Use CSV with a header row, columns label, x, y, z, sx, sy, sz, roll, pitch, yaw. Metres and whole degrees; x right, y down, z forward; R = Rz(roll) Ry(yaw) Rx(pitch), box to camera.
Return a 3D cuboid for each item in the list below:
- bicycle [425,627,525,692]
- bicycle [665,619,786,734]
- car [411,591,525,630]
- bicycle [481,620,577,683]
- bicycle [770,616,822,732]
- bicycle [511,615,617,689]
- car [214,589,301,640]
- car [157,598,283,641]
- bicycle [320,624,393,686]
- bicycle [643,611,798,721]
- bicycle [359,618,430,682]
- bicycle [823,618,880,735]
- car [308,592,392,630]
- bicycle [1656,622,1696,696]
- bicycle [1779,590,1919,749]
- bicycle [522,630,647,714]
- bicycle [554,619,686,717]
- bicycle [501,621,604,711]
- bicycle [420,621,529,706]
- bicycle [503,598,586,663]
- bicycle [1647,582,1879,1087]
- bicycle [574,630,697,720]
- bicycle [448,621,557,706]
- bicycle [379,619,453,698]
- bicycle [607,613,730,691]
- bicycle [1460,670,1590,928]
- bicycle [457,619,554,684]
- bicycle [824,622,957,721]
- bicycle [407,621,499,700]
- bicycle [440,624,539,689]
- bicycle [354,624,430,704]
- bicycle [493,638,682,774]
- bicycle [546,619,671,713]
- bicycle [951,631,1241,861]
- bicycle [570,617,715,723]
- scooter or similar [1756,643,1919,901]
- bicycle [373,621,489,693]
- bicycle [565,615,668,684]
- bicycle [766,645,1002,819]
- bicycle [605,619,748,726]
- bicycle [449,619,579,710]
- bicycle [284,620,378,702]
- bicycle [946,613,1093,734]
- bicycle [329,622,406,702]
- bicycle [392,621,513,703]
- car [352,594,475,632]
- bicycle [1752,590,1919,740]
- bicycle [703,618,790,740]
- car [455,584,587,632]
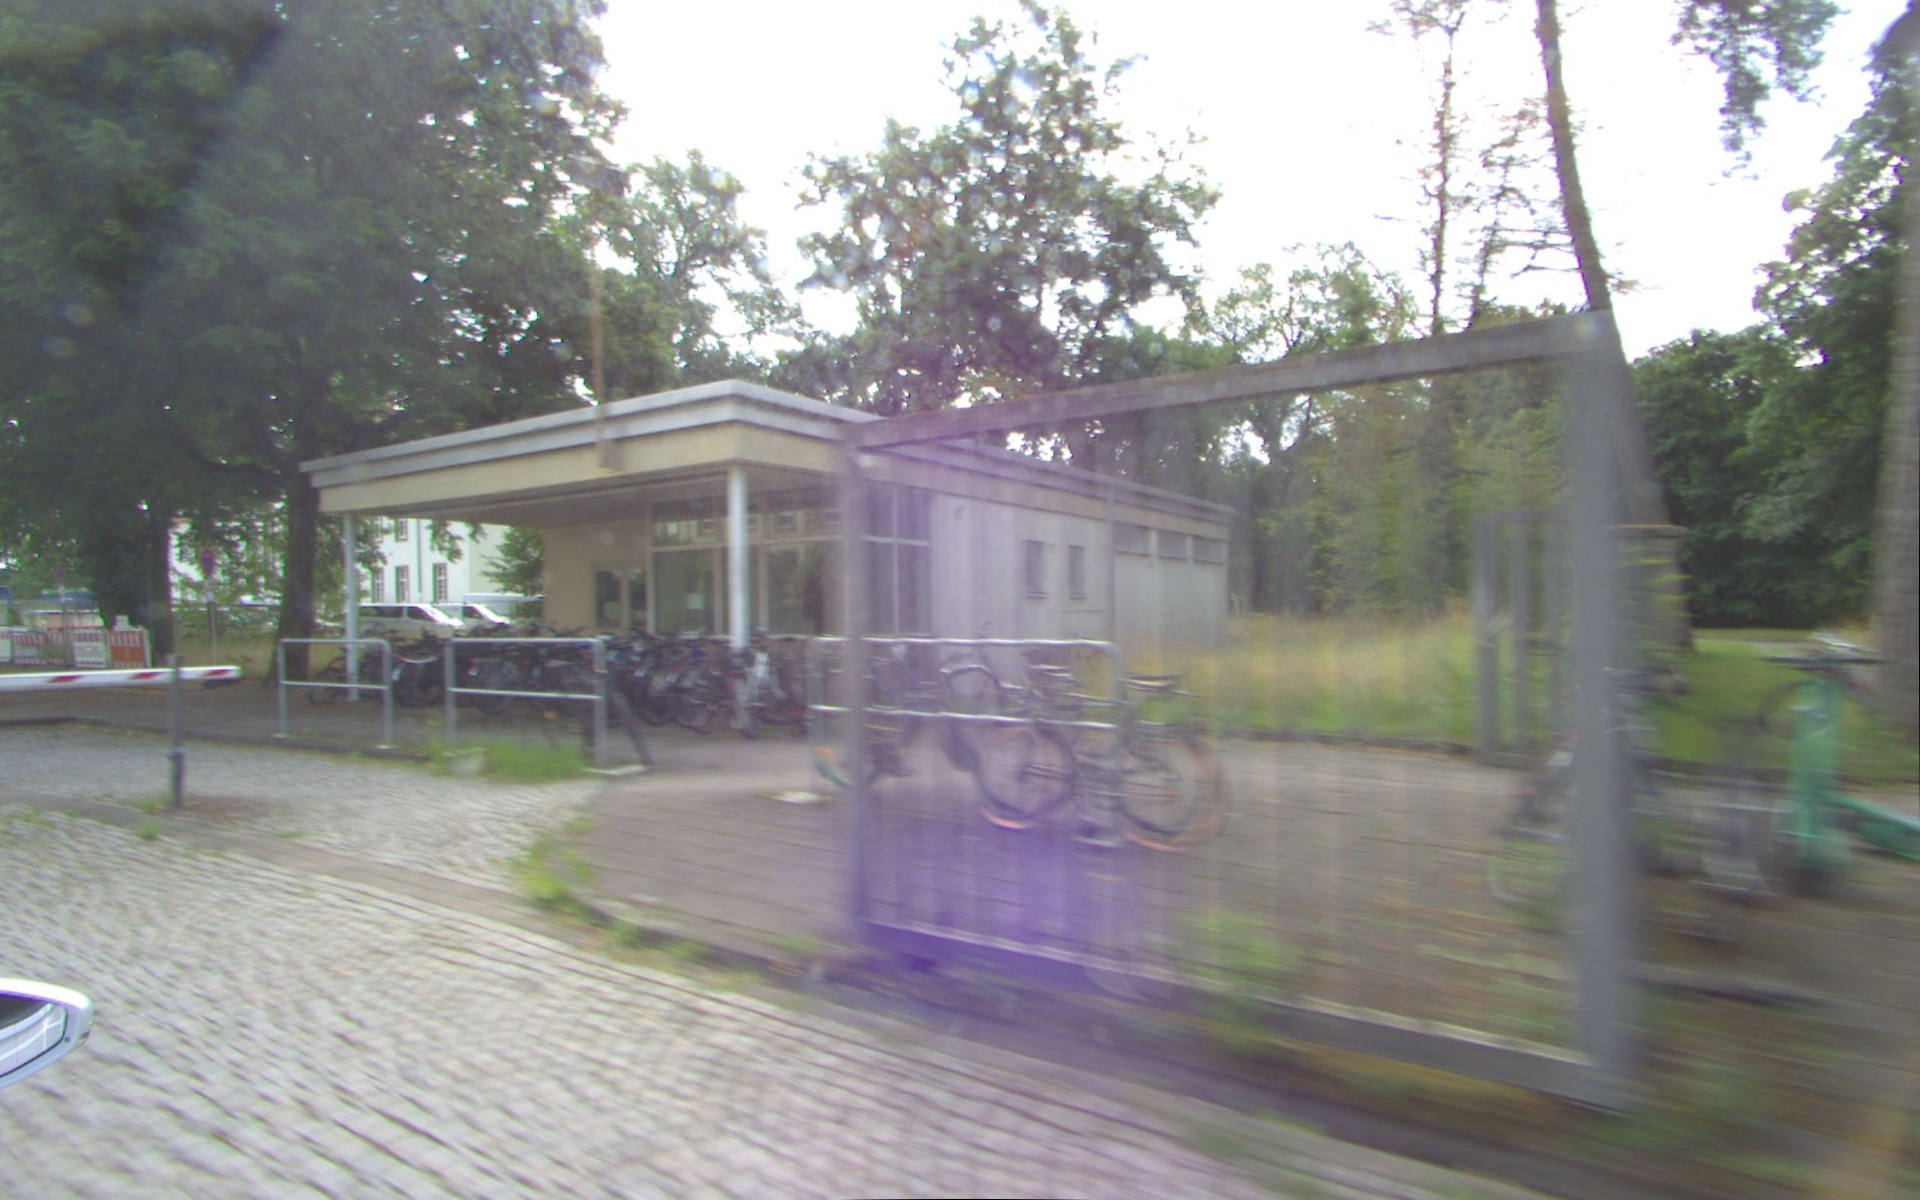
label,x,y,z,sx,sy,sz,roll,pitch,yaw
bicycle,-8.361,1.010,17.249,1.880,1.081,0.371,-1,1,22
bicycle,-2.613,0.830,11.275,0.430,1.186,1.388,-3,-1,32
car,-24.527,0.514,50.006,4.746,1.812,2.000,-1,-1,4
bicycle,-7.860,0.944,18.259,1.866,1.097,0.371,-2,0,22
bicycle,-1.821,0.794,11.245,0.428,1.186,1.653,-2,-1,-6
bicycle,-6.807,0.874,17.189,1.865,1.136,0.370,2,9,22
car,-35.723,0.788,50.853,5.287,2.455,1.987,-2,-1,36
car,-33.655,0.885,45.648,1.973,1.844,4.209,-2,-1,34
bicycle,-11.473,1.023,19.031,1.562,1.101,0.503,0,1,31
bicycle,-2.844,0.757,12.152,0.479,1.186,2.067,-3,-1,31
bicycle,-11.044,0.981,19.535,1.533,1.186,0.503,-3,-1,32
bicycle,-1.233,0.806,11.191,0.428,1.134,1.651,-2,2,-12
car,-33.338,0.610,54.691,4.771,2.040,1.989,-1,0,32
bicycle,11.013,0.877,15.421,0.368,1.030,1.943,0,0,32
bicycle,8.854,0.636,9.328,1.766,1.436,0.588,1,1,17
bicycle,-5.223,0.975,14.072,0.394,1.042,1.980,-3,-1,21
bicycle,-4.472,0.864,13.335,0.394,1.186,2.017,-3,-1,22
bicycle,-5.769,0.906,14.276,0.394,1.175,1.704,-2,-1,13
bicycle,-7.388,0.939,15.330,0.488,1.186,1.749,-2,-1,12
bicycle,-7.789,0.581,18.743,1.871,1.143,0.370,-2,0,31
bicycle,2.964,0.667,3.754,0.509,1.436,1.893,-2,0,37
bicycle,-4.147,0.935,12.924,0.348,1.044,1.769,-3,-1,25
bicycle,-6.886,0.923,15.172,0.488,1.186,1.805,-2,-1,12
bicycle,-8.566,0.900,15.812,0.352,1.186,1.383,-2,-1,0
bicycle,-4.637,0.810,16.028,0.441,1.133,1.880,-2,0,44
bicycle,2.990,0.920,5.222,0.451,0.981,1.940,0,0,34
bicycle,-8.157,0.915,17.959,1.866,1.134,0.371,-1,0,22
bicycle,-0.835,0.825,11.775,1.572,1.097,0.434,-2,0,31
bicycle,-8.106,0.947,16.064,0.353,1.186,1.378,-3,-1,24
bicycle,-8.284,1.001,17.608,1.866,1.095,0.371,-2,0,22
bicycle,-8.955,0.980,15.831,0.352,1.186,1.383,-2,-1,0
bicycle,-3.392,0.911,9.077,1.689,1.087,0.728,0,1,33
bicycle,-4.833,0.872,13.913,0.394,1.186,1.980,-3,-1,21
bicycle,0.787,0.811,6.085,1.691,1.186,0.500,1,1,33
bicycle,-3.920,0.832,12.567,0.386,1.186,2.070,-3,-1,25
scooter or similar,4.611,0.796,4.777,1.228,1.165,0.438,0,0,5
bicycle,-8.908,0.953,16.867,1.764,1.133,0.446,-2,0,7
bicycle,-5.965,0.867,17.361,1.866,1.133,0.371,-2,0,22
bicycle,-0.562,0.886,7.205,1.572,1.071,0.728,0,1,33
bicycle,-3.455,0.854,12.395,0.478,1.186,1.948,-3,-1,27
bicycle,-6.369,0.893,14.414,0.573,1.186,1.802,-3,-1,20
bicycle,-10.016,0.942,15.998,0.425,1.187,1.381,1,2,11
bicycle,0.602,0.738,10.690,0.432,1.186,1.707,-2,2,-44
bicycle,-9.354,0.957,15.866,0.352,1.186,1.383,-2,-1,0
bicycle,-7.880,0.938,15.641,0.353,1.186,1.799,-3,-1,26
car,-25.871,0.622,47.488,4.746,1.671,2.000,-1,-1,4
bicycle,9.123,0.623,9.881,1.947,1.436,0.577,0,1,17
bicycle,-2.318,0.825,11.022,0.428,1.186,1.652,-2,1,5
car,-23.042,0.428,52.694,6.079,2.338,2.000,-1,-1,1
